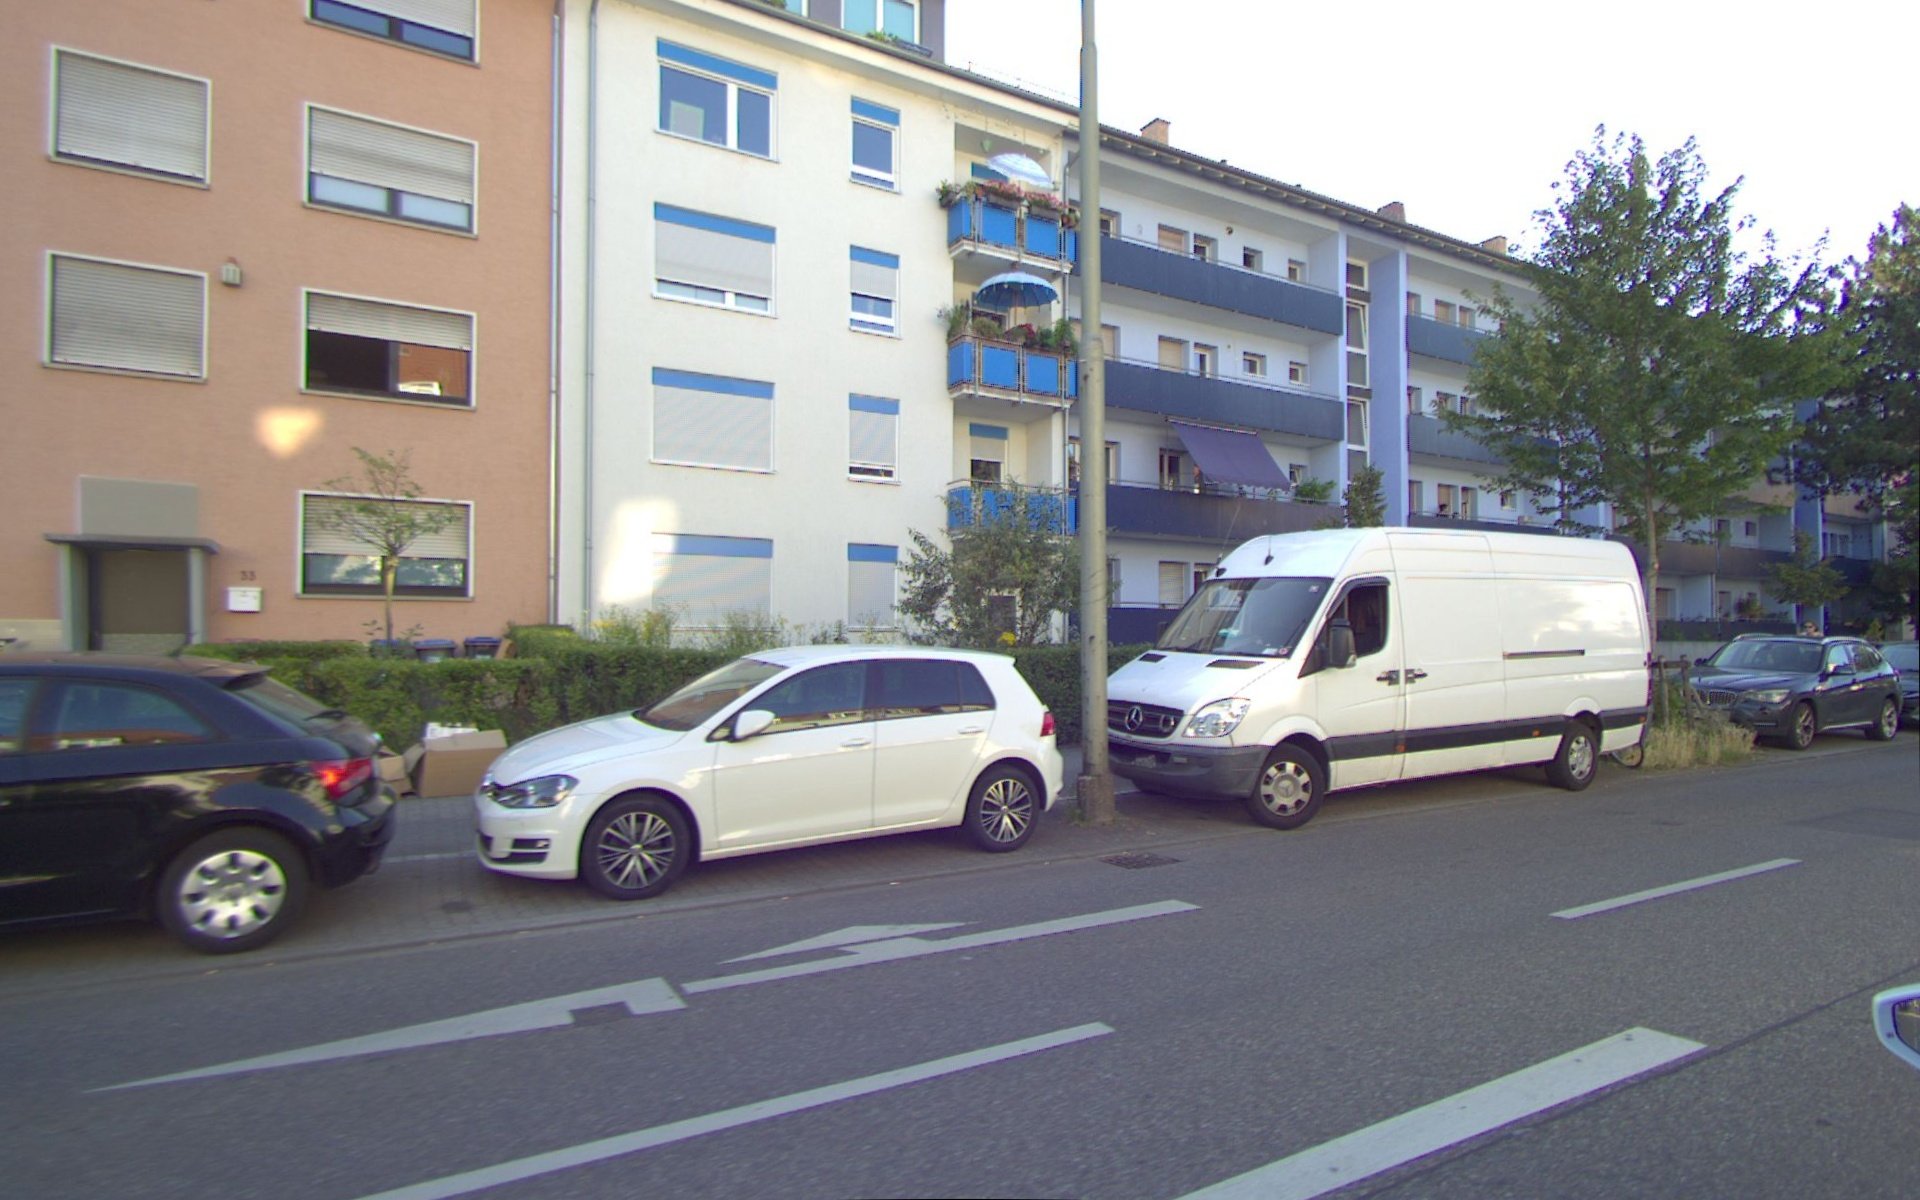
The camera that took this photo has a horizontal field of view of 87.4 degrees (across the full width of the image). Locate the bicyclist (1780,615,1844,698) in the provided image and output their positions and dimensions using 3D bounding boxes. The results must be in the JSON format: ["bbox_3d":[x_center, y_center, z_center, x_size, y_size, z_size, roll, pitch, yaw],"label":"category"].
[{"bbox_3d":[17.104,1.126,20.165,0.926,1.614,0.602,1,-2,-22],"label":"bicyclist"}]

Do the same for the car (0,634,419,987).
[{"bbox_3d":[-4.853,0.948,4.988,3.765,1.492,1.605,1,0,-28],"label":"car"}]

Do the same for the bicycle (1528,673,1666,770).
[{"bbox_3d":[7.810,1.459,12.380,0.433,1.028,1.469,1,-1,-22],"label":"bicycle"}]

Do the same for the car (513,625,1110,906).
[{"bbox_3d":[-1.016,0.985,7.389,4.010,1.512,1.698,1,1,-30],"label":"car"}]

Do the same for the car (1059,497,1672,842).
[{"bbox_3d":[4.462,0.600,10.359,7.021,2.651,1.984,1,-1,-30],"label":"car"}]

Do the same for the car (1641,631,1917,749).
[{"bbox_3d":[12.383,1.255,15.136,4.417,1.563,1.665,1,-2,-28],"label":"car"}]

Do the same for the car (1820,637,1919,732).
[{"bbox_3d":[16.873,1.396,17.353,4.091,1.503,1.686,1,-2,-28],"label":"car"}]
